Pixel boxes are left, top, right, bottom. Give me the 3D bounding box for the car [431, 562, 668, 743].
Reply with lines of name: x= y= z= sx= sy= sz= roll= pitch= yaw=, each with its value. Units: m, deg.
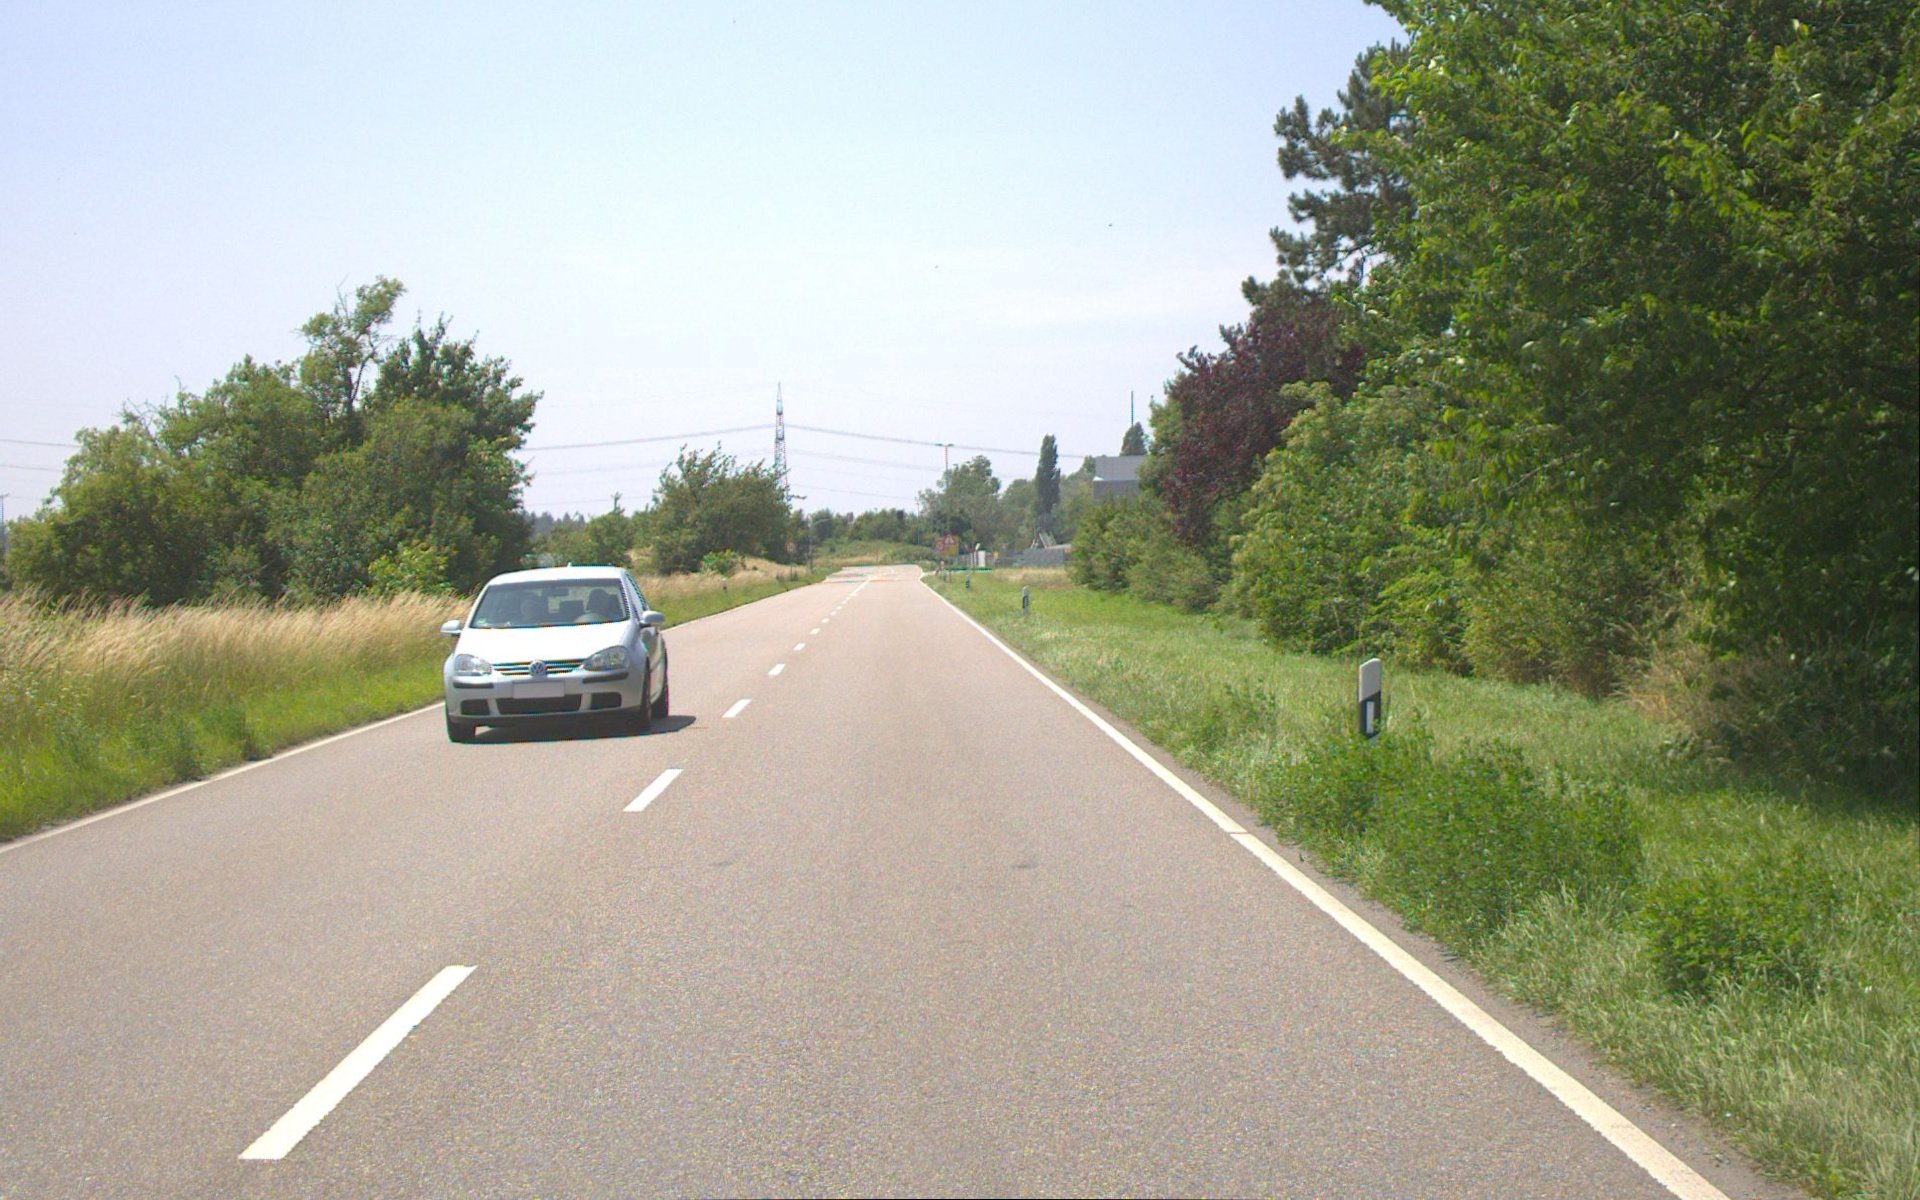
car: x=-3.638 y=0.417 z=31.127 sx=1.678 sy=1.416 sz=4.422 roll=-3 pitch=1 yaw=-2
